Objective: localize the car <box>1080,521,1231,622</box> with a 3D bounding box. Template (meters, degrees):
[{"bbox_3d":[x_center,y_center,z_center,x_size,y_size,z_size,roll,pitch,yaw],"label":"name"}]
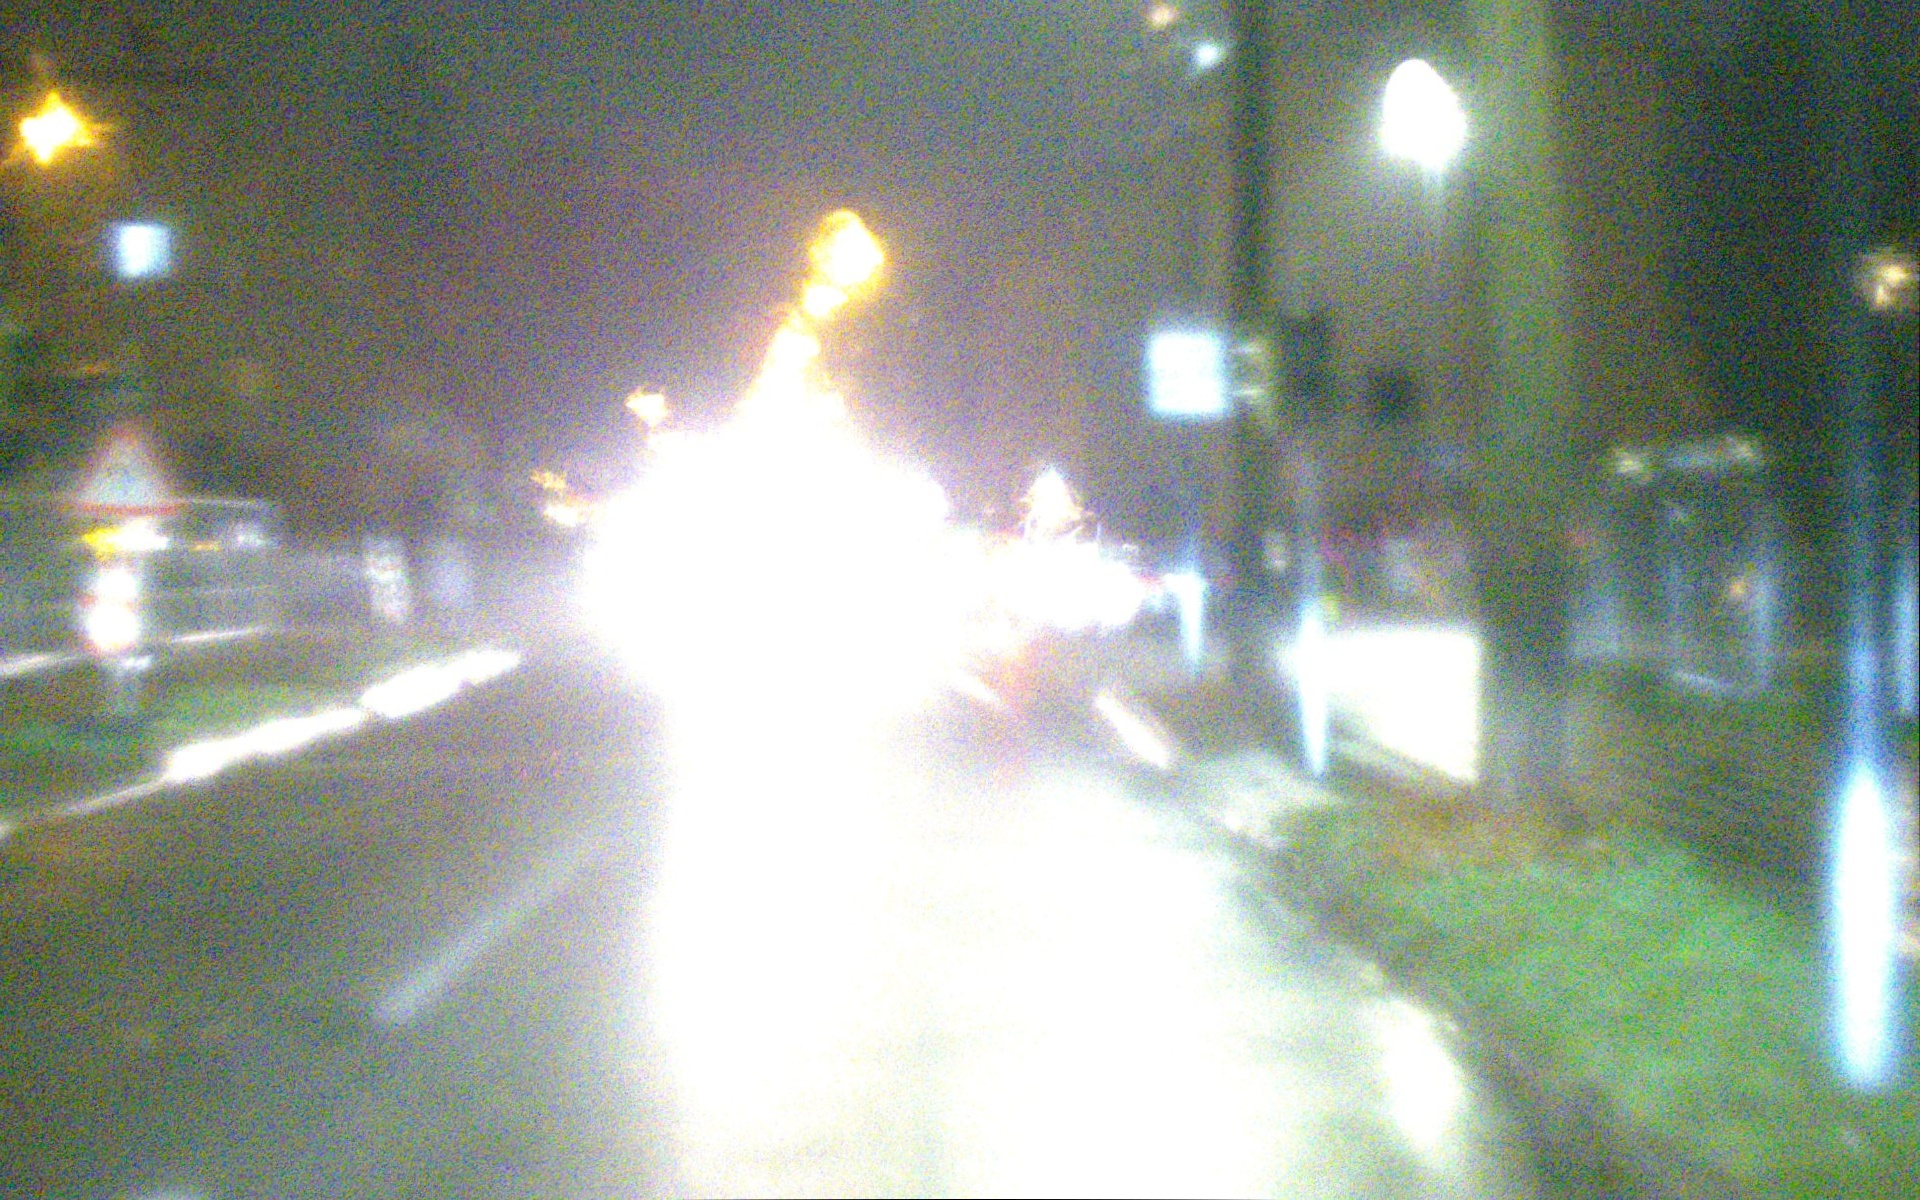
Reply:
[{"bbox_3d":[3.115,-0.497,55.597,1.789,1.444,4.792,-3,2,-4],"label":"car"}]

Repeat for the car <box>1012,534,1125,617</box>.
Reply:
[{"bbox_3d":[2.067,-0.500,66.524,1.713,1.483,4.437,-2,1,-4],"label":"car"}]

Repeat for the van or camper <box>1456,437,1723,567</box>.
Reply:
[{"bbox_3d":[12.889,-2.017,70.621,5.062,2.518,2.172,-1,2,0],"label":"van or camper"}]

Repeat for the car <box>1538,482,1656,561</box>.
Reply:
[{"bbox_3d":[12.345,-1.547,66.760,1.562,1.464,3.408,-1,2,-1],"label":"car"}]

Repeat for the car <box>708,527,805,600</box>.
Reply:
[{"bbox_3d":[-4.205,-0.778,71.480,1.745,1.428,4.000,-1,1,0],"label":"car"}]

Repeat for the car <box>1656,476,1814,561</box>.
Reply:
[{"bbox_3d":[14.908,-1.603,66.344,1.829,1.542,4.867,-1,2,-1],"label":"car"}]

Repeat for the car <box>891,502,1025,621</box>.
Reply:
[{"bbox_3d":[-0.008,-0.630,53.612,1.993,1.678,4.001,-1,3,1],"label":"car"}]
